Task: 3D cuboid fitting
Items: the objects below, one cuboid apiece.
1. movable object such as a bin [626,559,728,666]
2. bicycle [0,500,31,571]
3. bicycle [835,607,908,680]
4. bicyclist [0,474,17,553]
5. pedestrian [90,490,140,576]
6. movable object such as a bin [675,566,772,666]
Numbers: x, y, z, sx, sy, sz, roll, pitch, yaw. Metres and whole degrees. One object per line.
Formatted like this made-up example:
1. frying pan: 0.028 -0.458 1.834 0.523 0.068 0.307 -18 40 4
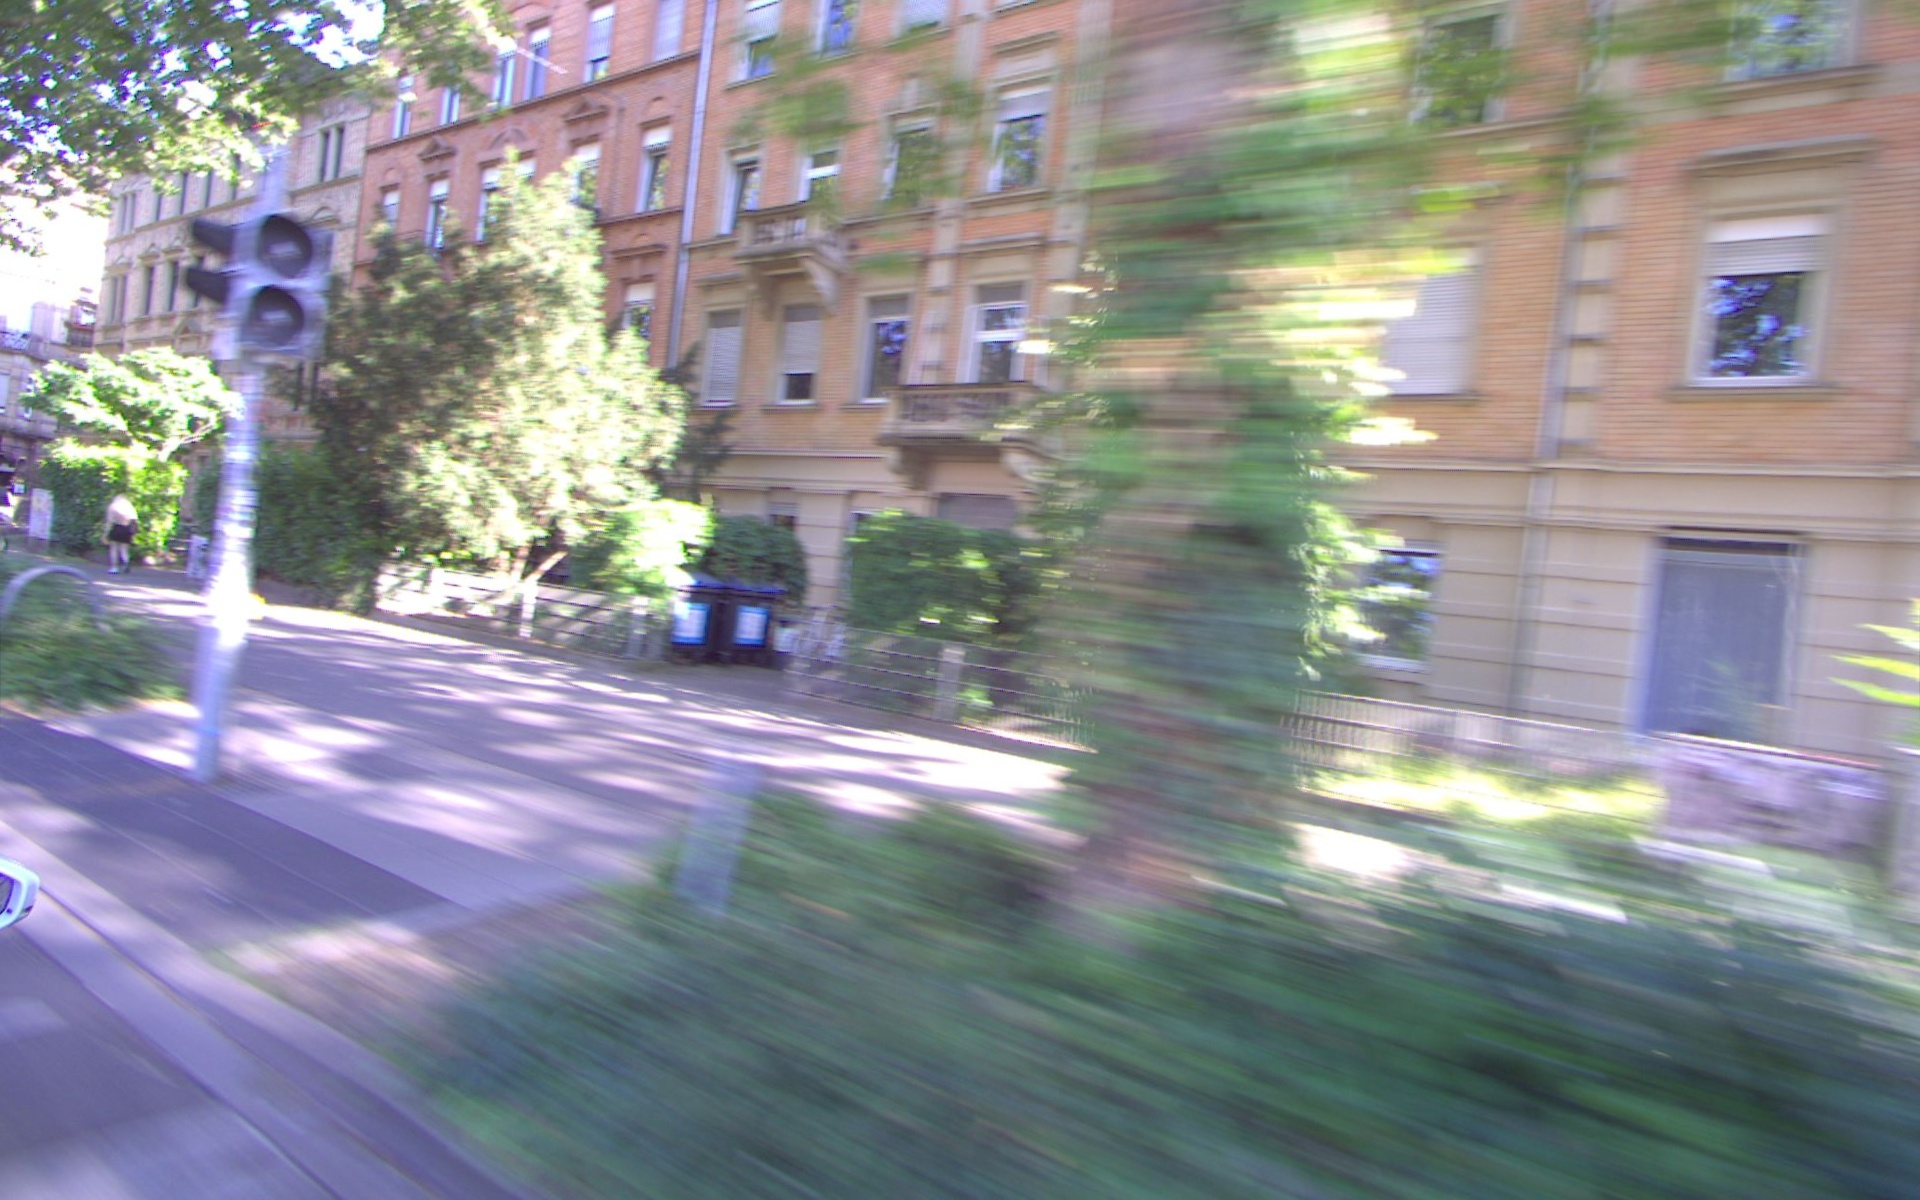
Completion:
1. movable object such as a bin: -4.295 0.194 15.280 1.066 1.483 0.907 6 1 31
2. bicycle: -17.582 -1.229 18.147 2.189 1.193 0.561 7 0 32
3. bicycle: -1.599 0.764 18.009 0.324 1.154 1.502 10 -4 -42
4. bicyclist: -17.548 -1.605 18.134 0.633 1.397 0.543 7 1 31
5. pedestrian: -17.153 -1.355 20.431 0.607 1.649 0.530 7 2 33
6. movable object such as a bin: -3.801 0.261 16.188 1.066 1.483 0.907 6 1 31
